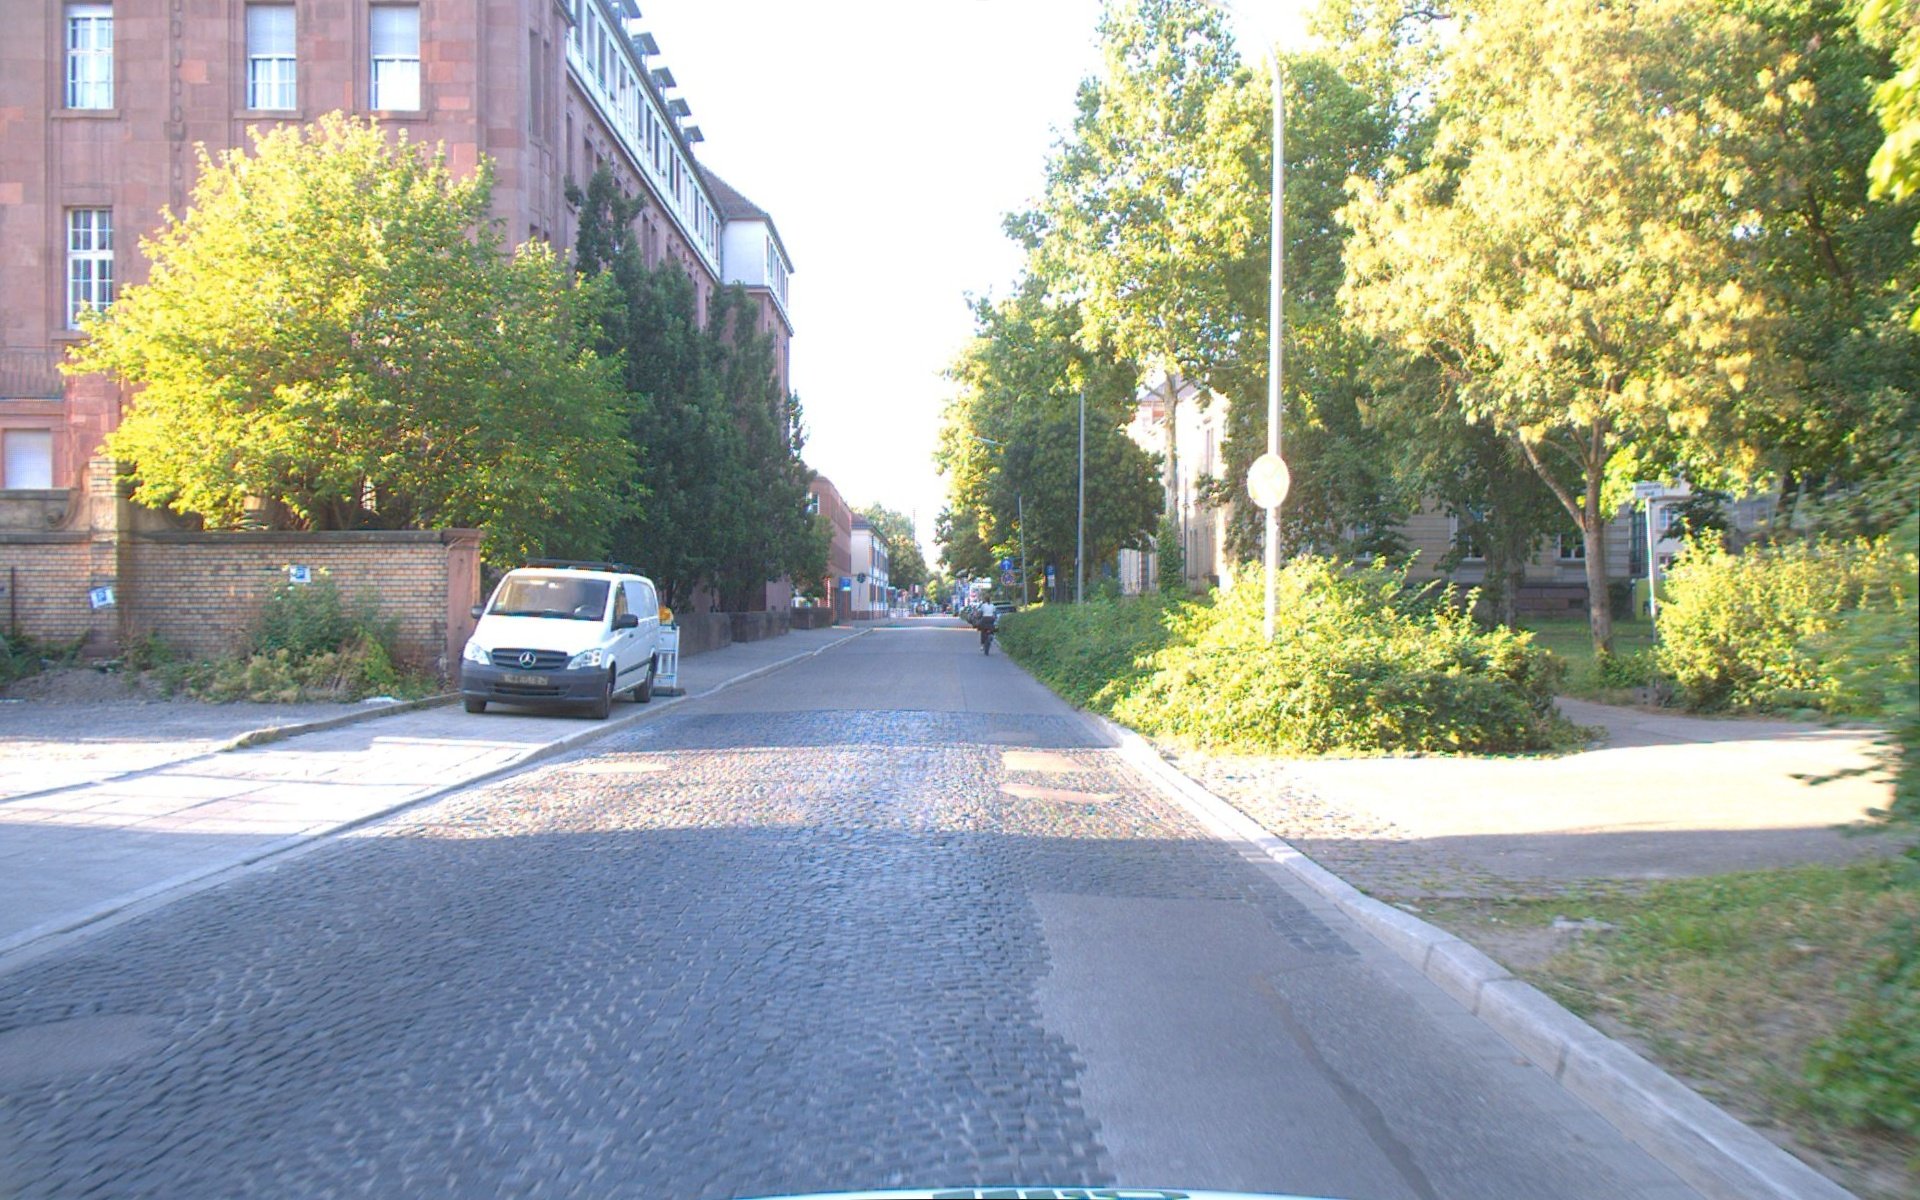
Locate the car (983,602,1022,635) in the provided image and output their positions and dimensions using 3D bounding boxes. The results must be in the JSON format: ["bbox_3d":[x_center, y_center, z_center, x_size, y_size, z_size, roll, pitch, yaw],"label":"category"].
[{"bbox_3d":[2.081,0.942,82.419,1.652,1.472,3.669,-3,-1,-2],"label":"car"}]

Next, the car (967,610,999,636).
[{"bbox_3d":[1.528,1.551,112.014,1.953,1.736,3.998,-1,0,-2],"label":"car"}]

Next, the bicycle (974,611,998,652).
[{"bbox_3d":[0.789,0.965,50.469,0.625,1.214,1.875,1,-1,-2],"label":"bicycle"}]

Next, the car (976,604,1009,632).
[{"bbox_3d":[1.855,1.044,96.017,1.681,1.564,4.046,1,0,-3],"label":"car"}]

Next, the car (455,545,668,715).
[{"bbox_3d":[-5.368,0.429,22.997,1.845,2.049,5.223,2,-1,-2],"label":"car"}]

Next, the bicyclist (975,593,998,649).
[{"bbox_3d":[0.796,0.644,50.501,0.626,1.696,0.842,1,-1,-3],"label":"bicyclist"}]
